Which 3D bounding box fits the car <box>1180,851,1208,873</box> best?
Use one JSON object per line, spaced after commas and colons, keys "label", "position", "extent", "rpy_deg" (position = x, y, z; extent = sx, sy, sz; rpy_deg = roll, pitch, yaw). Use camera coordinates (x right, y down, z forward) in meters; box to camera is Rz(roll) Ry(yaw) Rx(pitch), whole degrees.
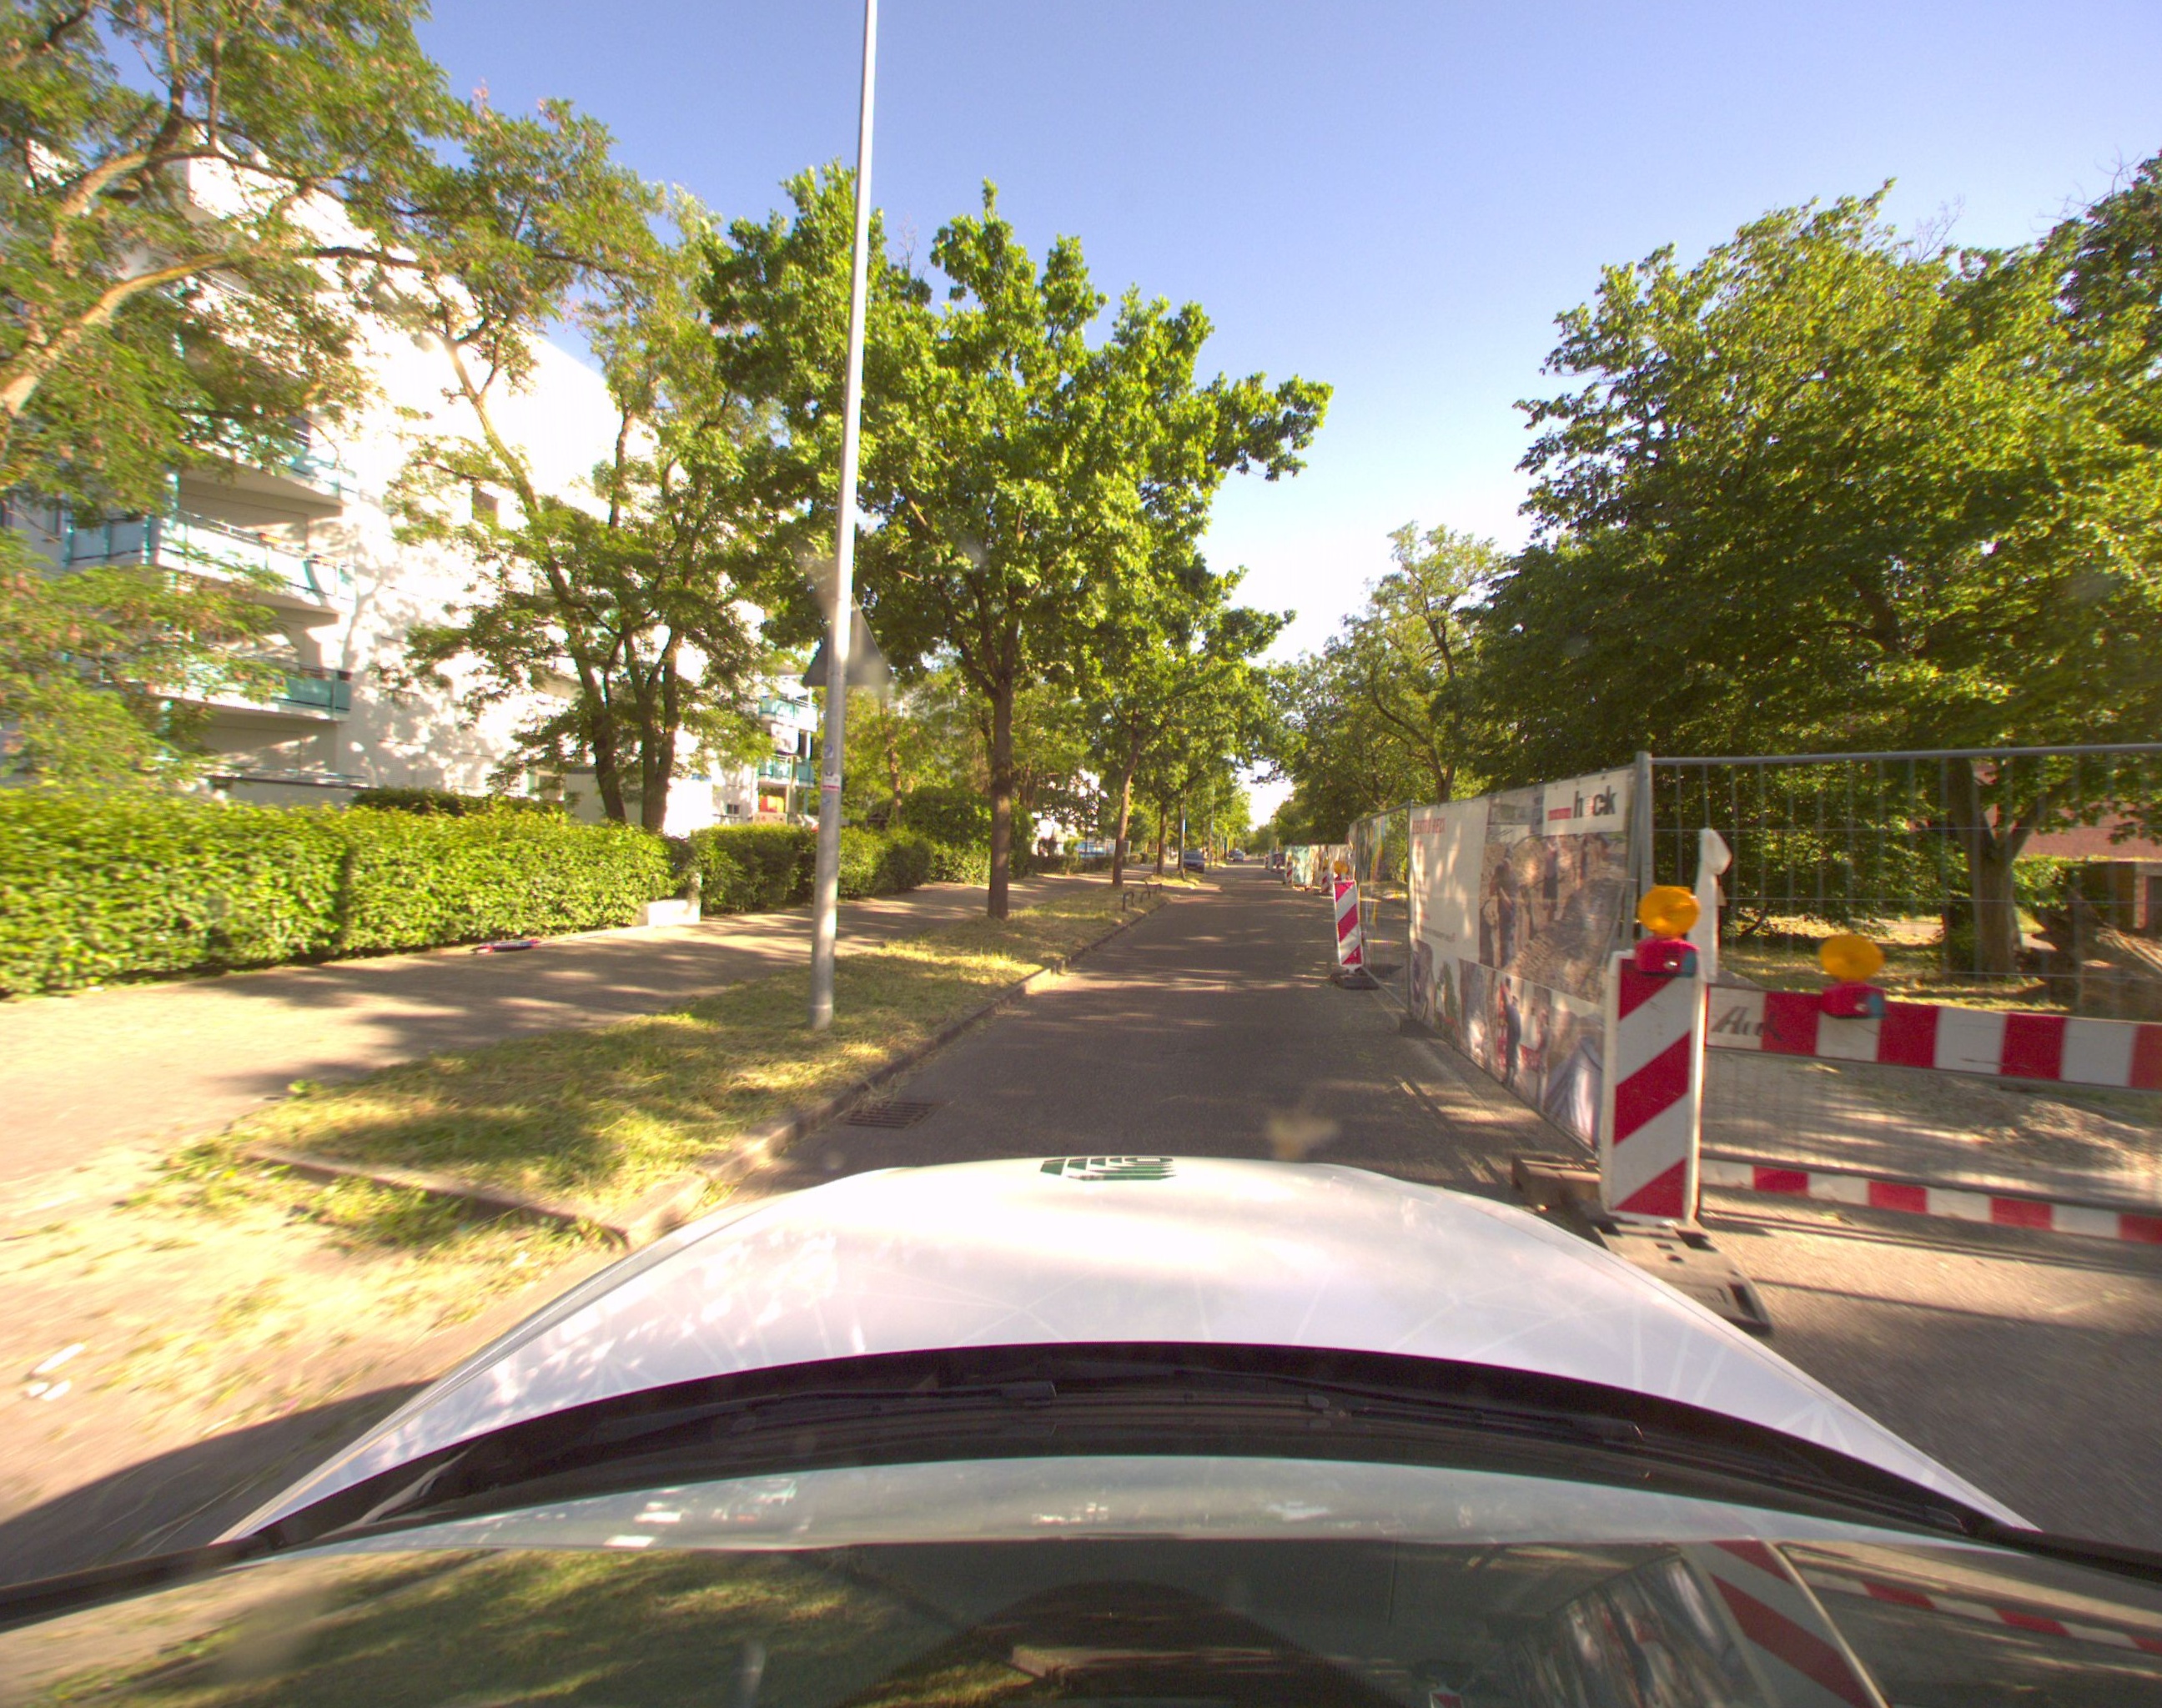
{"label": "car", "position": [8.089, 0.535, 58.051], "extent": [1.740, 1.478, 3.847], "rpy_deg": [2, 0, 10]}

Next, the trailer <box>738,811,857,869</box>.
{"label": "trailer", "position": [-10.782, -0.499, 31.384], "extent": [1.961, 2.042, 4.450], "rpy_deg": [2, 0, 18]}

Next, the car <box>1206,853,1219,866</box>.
{"label": "car", "position": [14.919, 0.636, 92.561], "extent": [1.353, 1.302, 3.490], "rpy_deg": [3, 0, 9]}

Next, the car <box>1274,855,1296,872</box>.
{"label": "car", "position": [16.558, 0.782, 66.186], "extent": [1.353, 1.302, 3.490], "rpy_deg": [3, 0, 9]}

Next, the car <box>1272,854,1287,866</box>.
{"label": "car", "position": [26.306, 0.773, 108.058], "extent": [1.782, 1.409, 4.014], "rpy_deg": [2, 0, 13]}

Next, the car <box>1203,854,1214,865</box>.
{"label": "car", "position": [16.256, 0.746, 103.880], "extent": [1.353, 1.302, 3.490], "rpy_deg": [3, 0, 9]}

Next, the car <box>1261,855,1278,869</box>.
{"label": "car", "position": [18.276, 0.778, 79.100], "extent": [1.353, 1.302, 3.490], "rpy_deg": [3, 0, 9]}

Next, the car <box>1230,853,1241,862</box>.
{"label": "car", "position": [27.121, 0.601, 142.908], "extent": [1.701, 1.585, 4.009], "rpy_deg": [3, 0, 8]}
